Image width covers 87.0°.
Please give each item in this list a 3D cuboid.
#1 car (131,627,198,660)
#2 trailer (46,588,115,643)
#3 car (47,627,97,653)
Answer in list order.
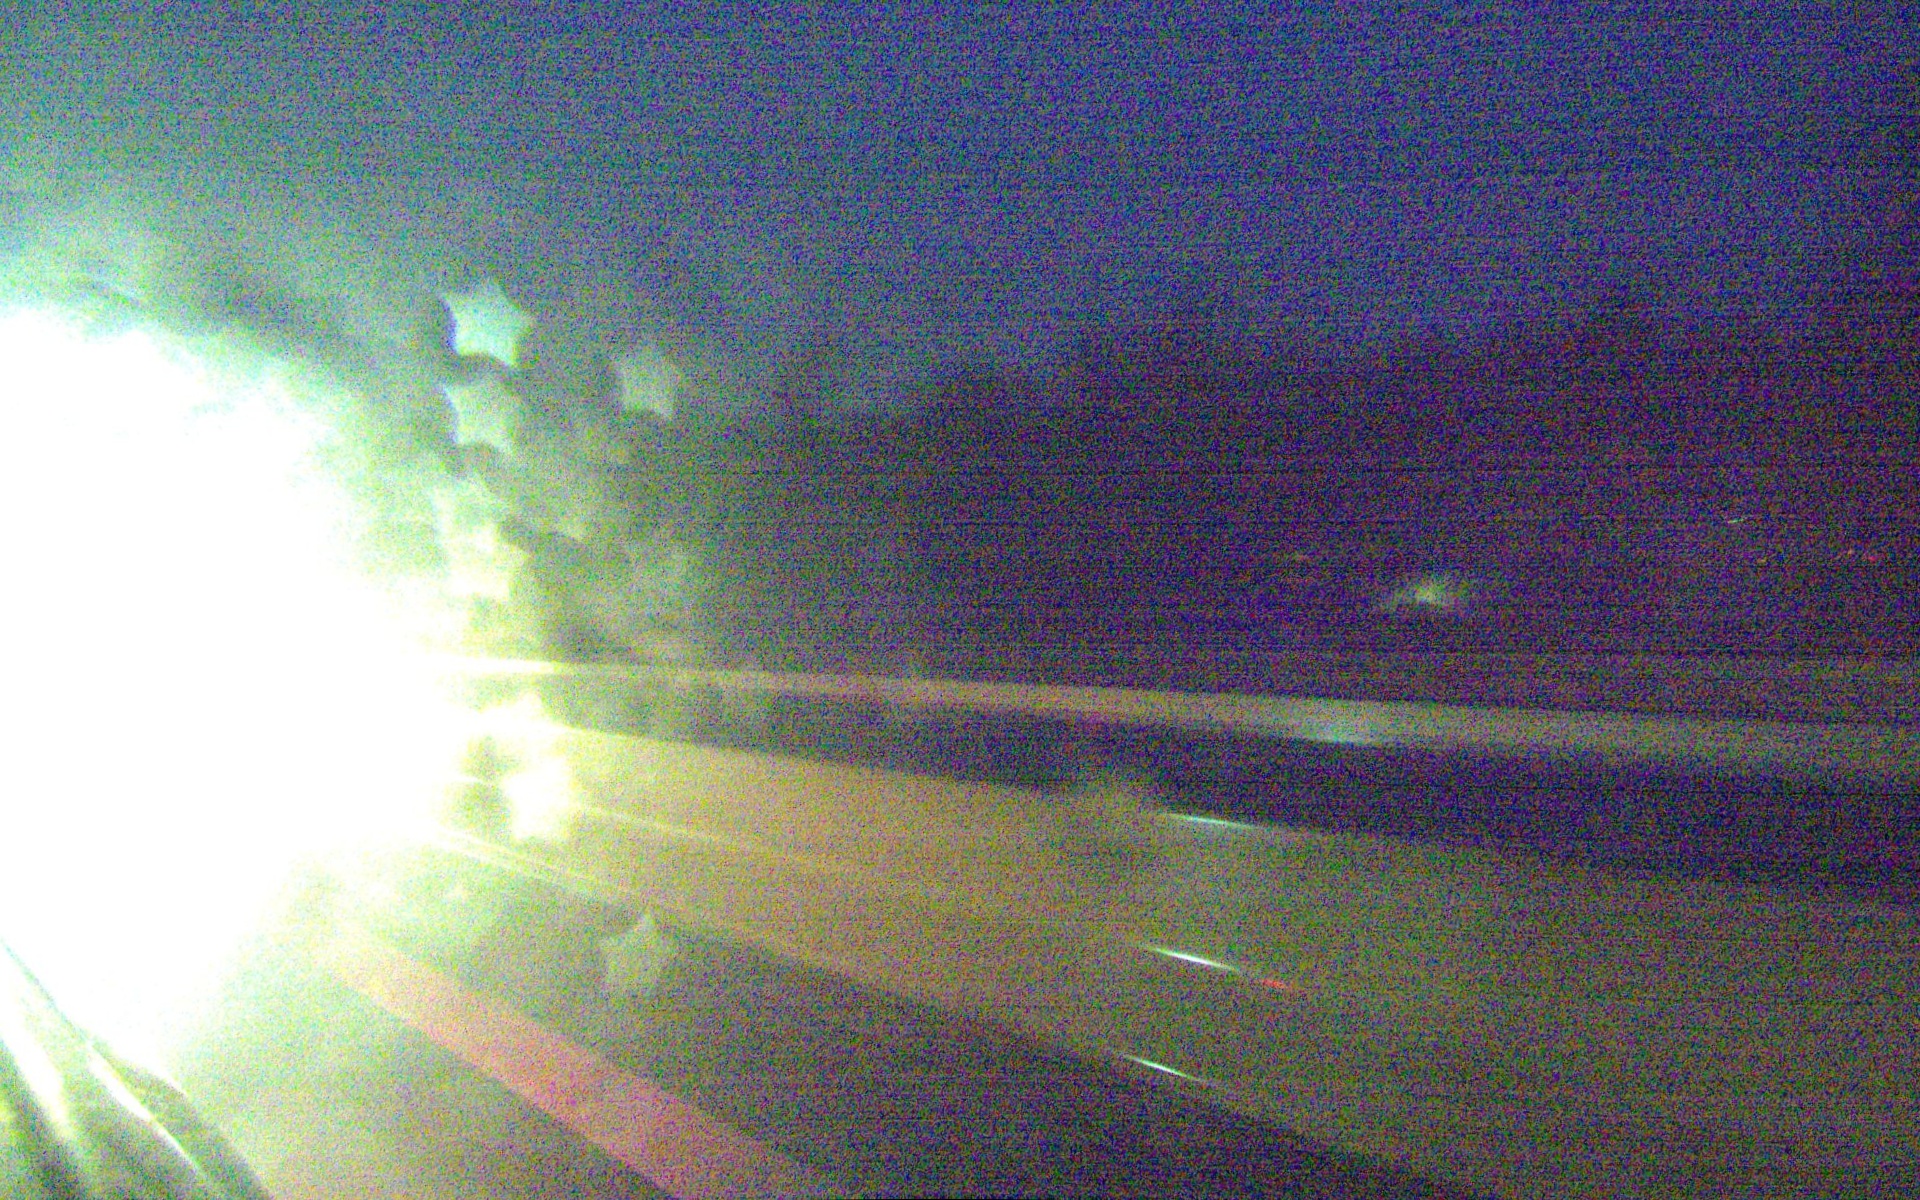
[{"bbox_3d":[-42.322,2.271,53.809,4.668,1.536,1.973,-1,3,42],"label":"car"},{"bbox_3d":[-80.107,1.388,92.049,13.714,4.578,2.596,-1,2,41],"label":"trailer"},{"bbox_3d":[-61.509,2.747,70.112,4.668,1.536,1.973,-1,3,42],"label":"car"}]
